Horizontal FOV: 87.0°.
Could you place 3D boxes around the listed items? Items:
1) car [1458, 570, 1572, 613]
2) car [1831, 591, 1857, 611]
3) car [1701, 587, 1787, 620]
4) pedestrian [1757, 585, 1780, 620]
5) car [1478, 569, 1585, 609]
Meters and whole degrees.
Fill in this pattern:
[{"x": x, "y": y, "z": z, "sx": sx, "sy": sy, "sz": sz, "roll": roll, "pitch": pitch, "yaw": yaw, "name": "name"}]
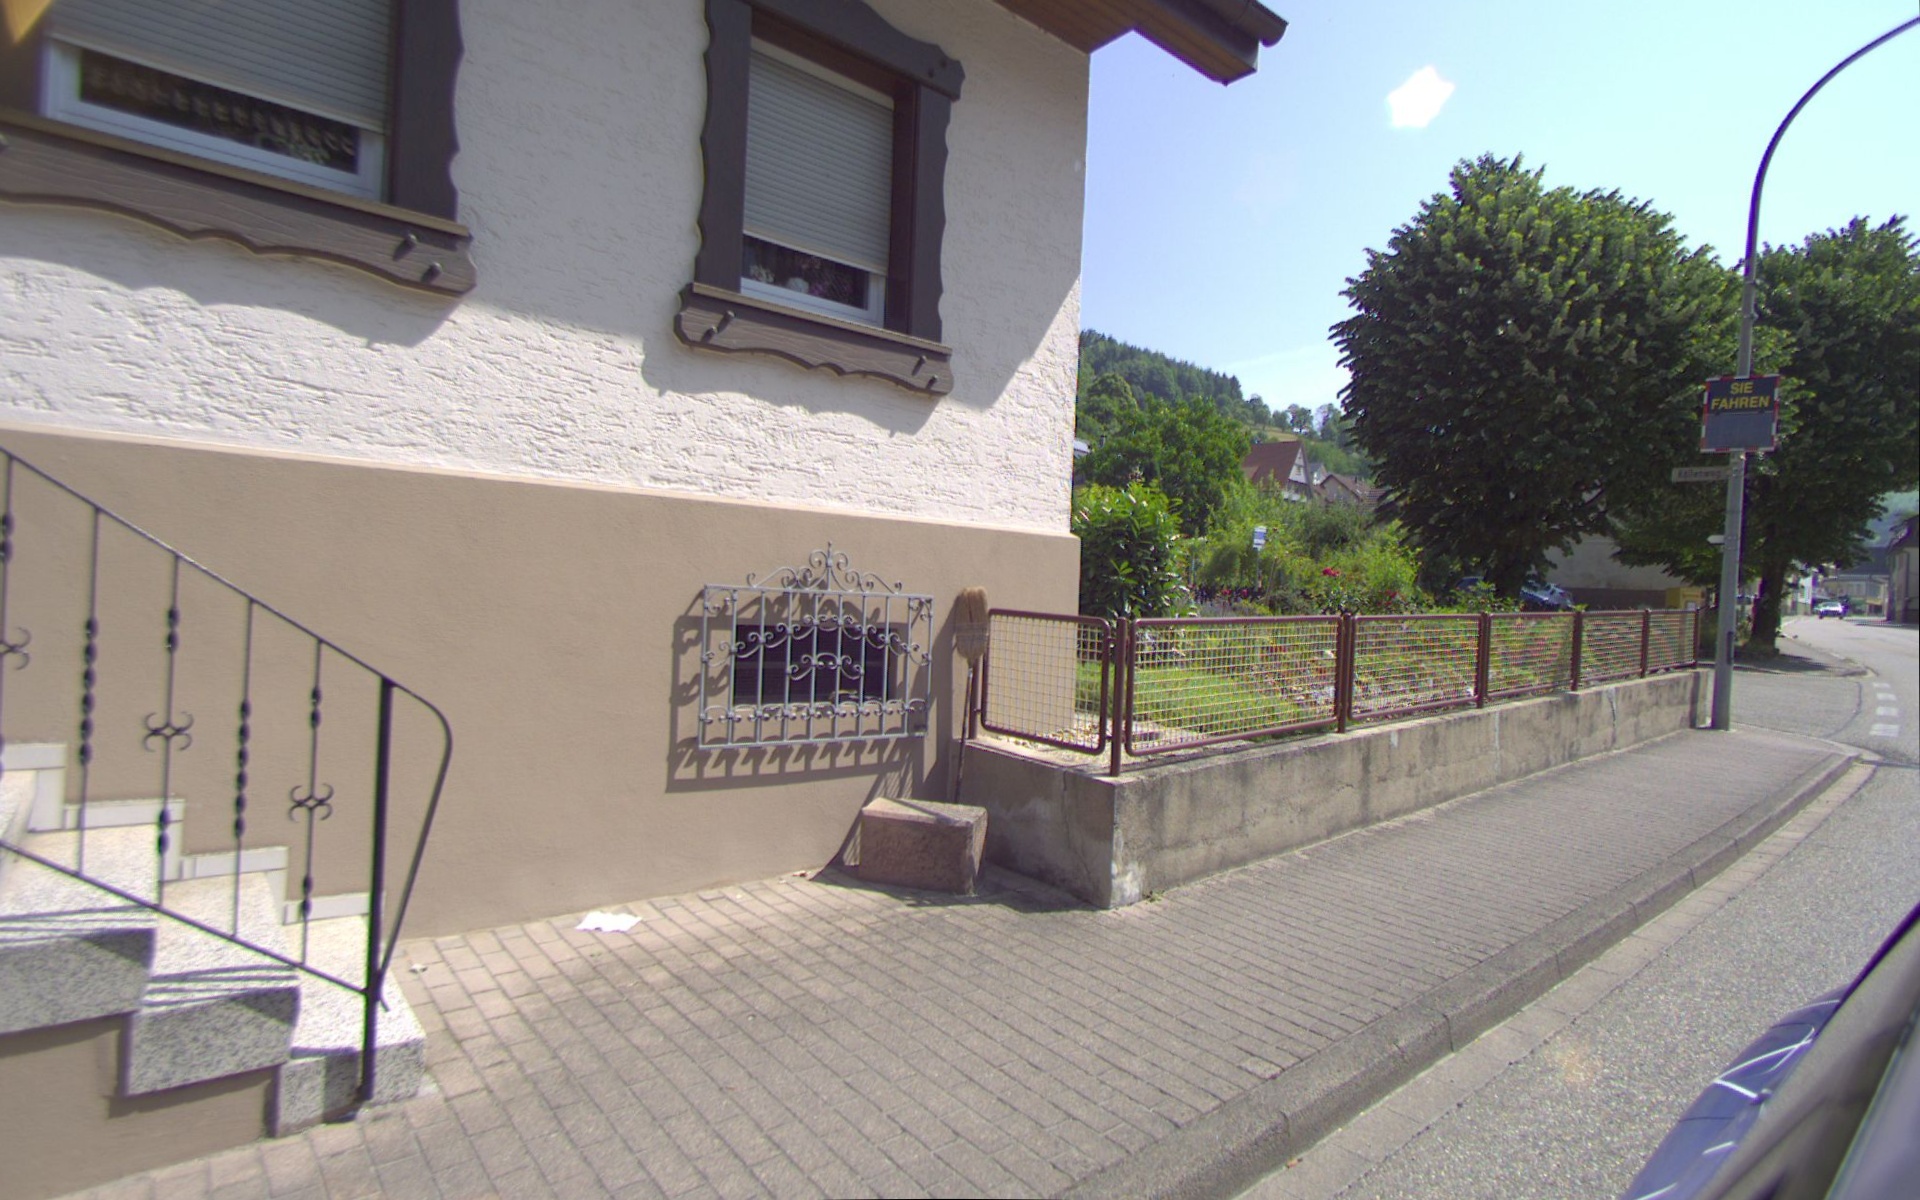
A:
[{"x": 22.328, "y": -0.371, "z": 40.755, "sx": 3.823, "sy": 1.424, "sz": 1.546, "roll": 6, "pitch": 4, "yaw": 36, "name": "car"}, {"x": 92.778, "y": 0.111, "z": 106.198, "sx": 1.993, "sy": 2.039, "sz": 3.938, "roll": 0, "pitch": 0, "yaw": 43, "name": "car"}, {"x": 43.761, "y": 0.171, "z": 56.541, "sx": 1.617, "sy": 1.615, "sz": 3.353, "roll": 1, "pitch": 3, "yaw": -28, "name": "car"}, {"x": 39.544, "y": 0.129, "z": 49.499, "sx": 0.700, "sy": 1.691, "sz": 0.682, "roll": 1, "pitch": 3, "yaw": -41, "name": "pedestrian"}, {"x": 25.399, "y": -0.512, "z": 45.024, "sx": 3.924, "sy": 1.489, "sz": 1.635, "roll": 6, "pitch": 4, "yaw": 35, "name": "car"}]
